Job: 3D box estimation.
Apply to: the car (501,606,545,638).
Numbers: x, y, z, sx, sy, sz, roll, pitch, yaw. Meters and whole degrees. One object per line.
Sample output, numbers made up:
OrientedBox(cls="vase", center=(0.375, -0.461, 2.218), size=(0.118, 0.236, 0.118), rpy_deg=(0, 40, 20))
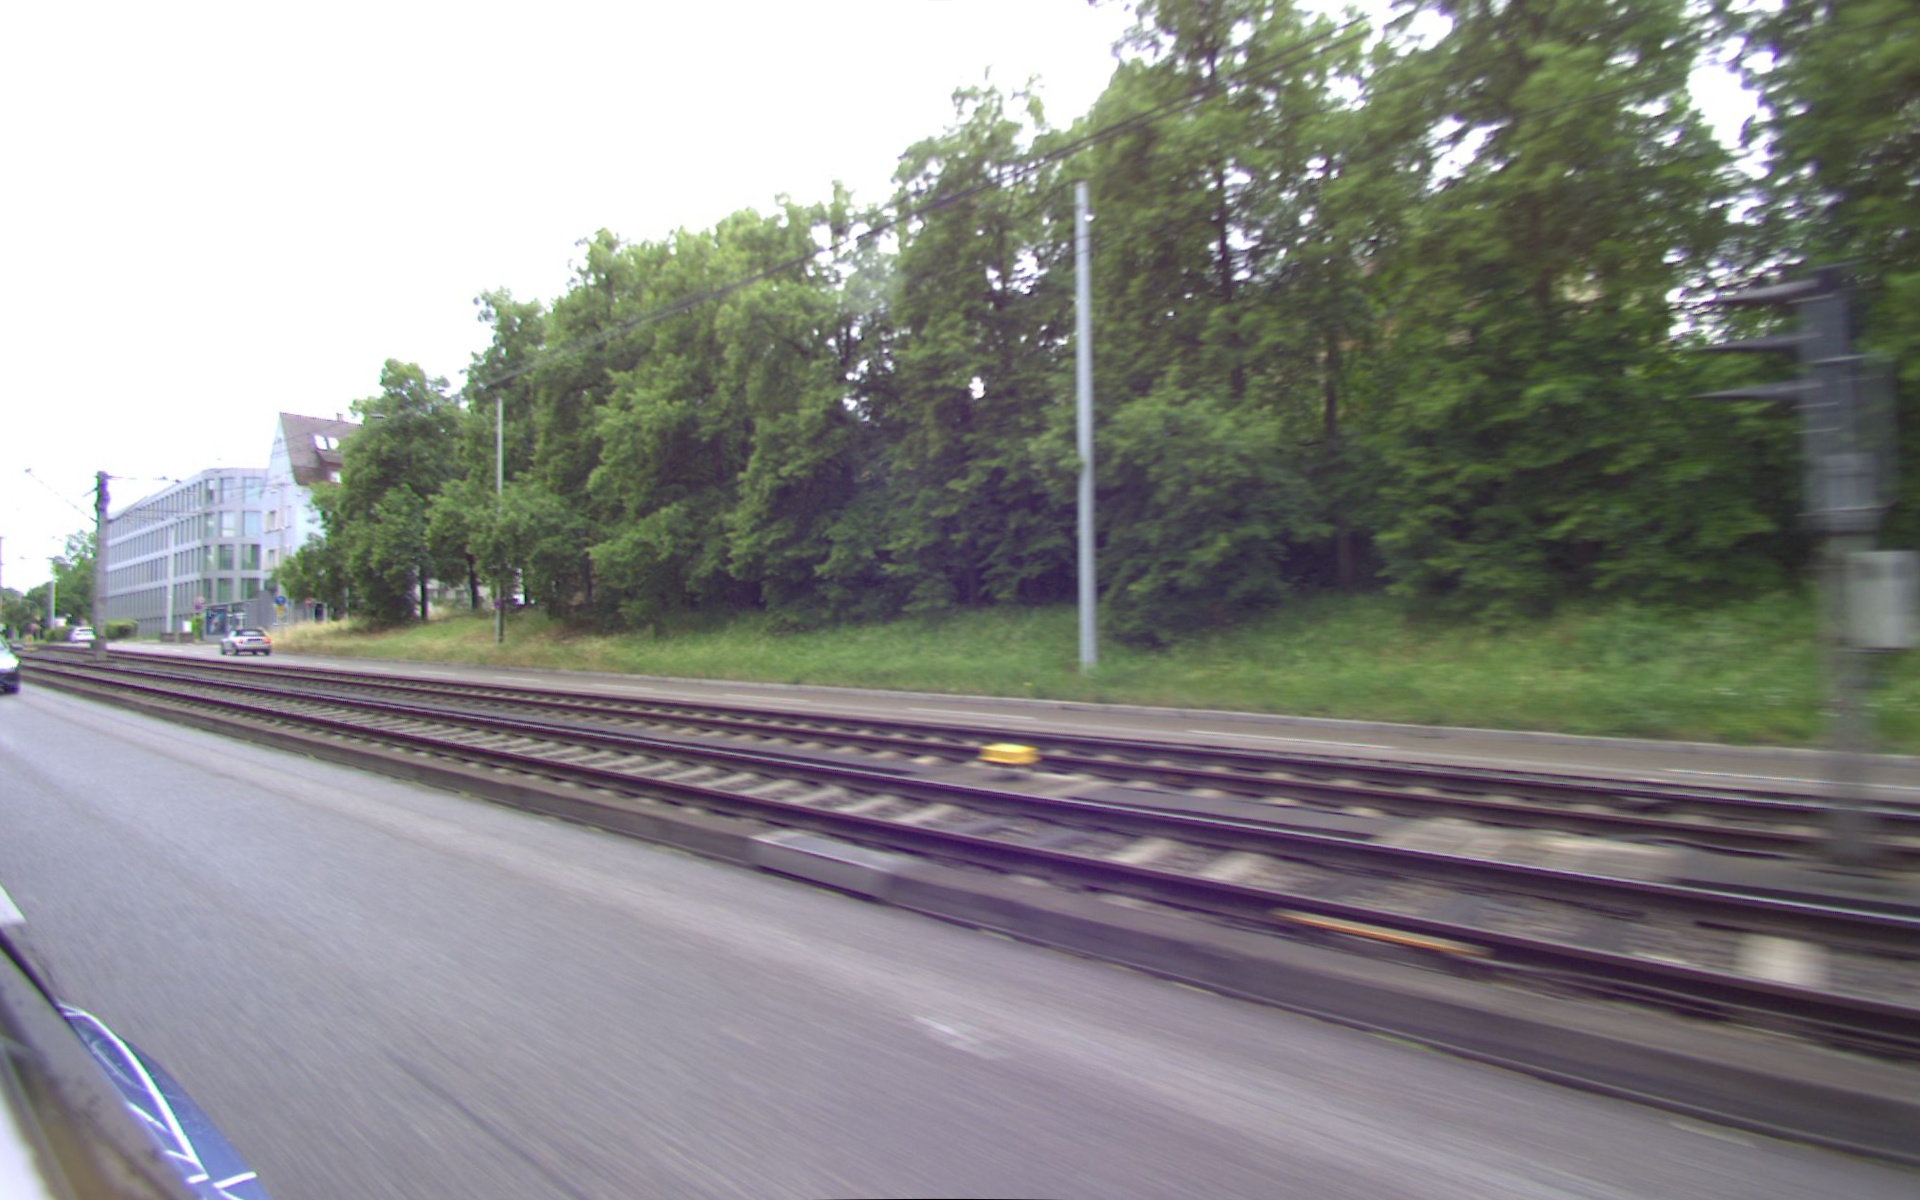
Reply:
OrientedBox(cls="car", center=(-28.889, 1.447, 66.816), size=(1.934, 2.029, 4.228), rpy_deg=(1, -2, -33))

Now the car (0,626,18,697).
OrientedBox(cls="car", center=(-21.794, 1.304, 21.844), size=(3.831, 1.459, 1.748), rpy_deg=(-1, -2, 41))

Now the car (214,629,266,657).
OrientedBox(cls="car", center=(-39.767, 2.376, 55.888), size=(3.908, 1.447, 1.460), rpy_deg=(-1, -4, 42))

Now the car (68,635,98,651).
OrientedBox(cls="car", center=(-86.754, 4.284, 100.091), size=(4.379, 1.541, 1.635), rpy_deg=(-2, -3, 42))
